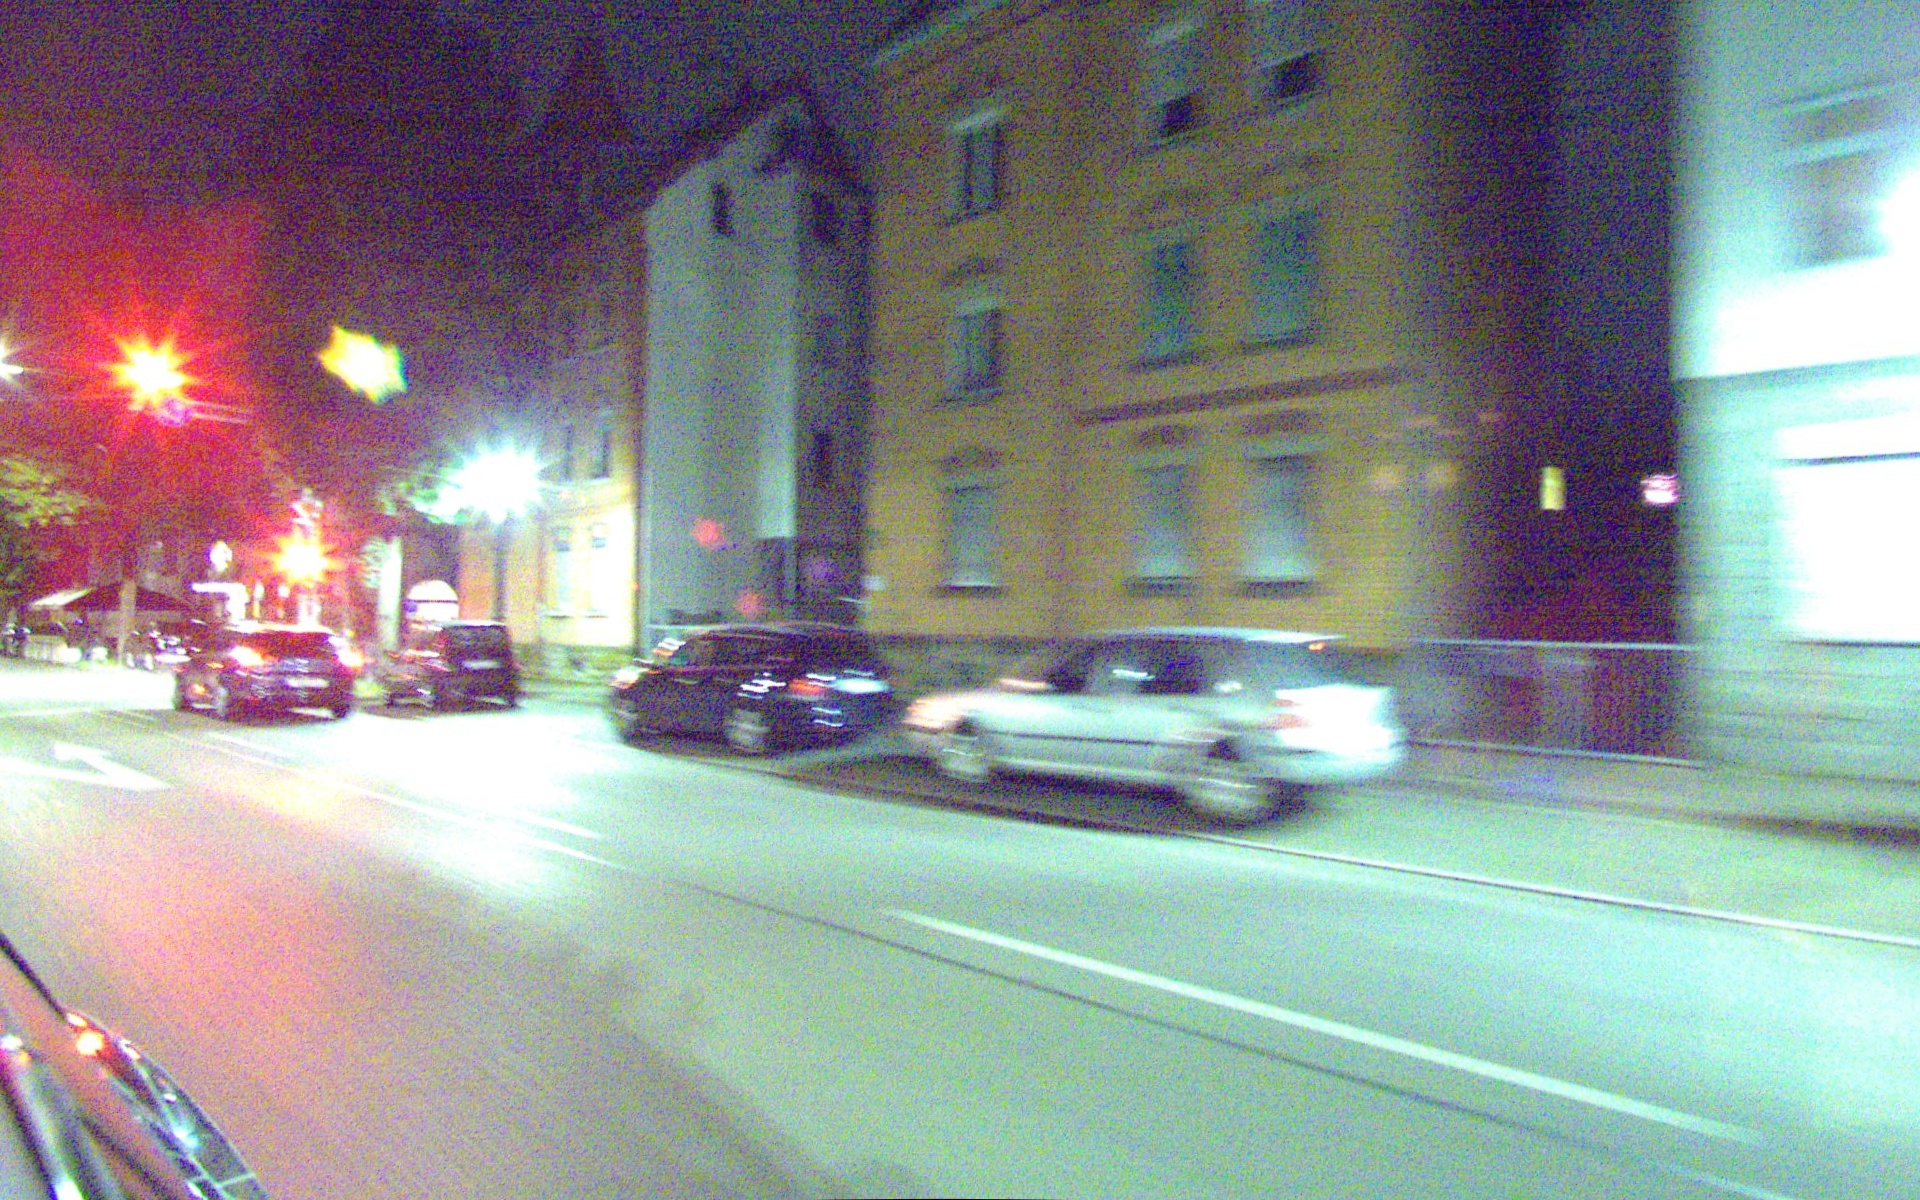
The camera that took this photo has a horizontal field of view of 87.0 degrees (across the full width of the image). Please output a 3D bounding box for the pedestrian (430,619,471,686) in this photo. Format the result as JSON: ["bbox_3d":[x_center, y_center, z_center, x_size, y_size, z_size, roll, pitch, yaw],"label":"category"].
[{"bbox_3d":[-13.290,1.353,26.392,0.700,1.703,0.999,3,-3,-39],"label":"pedestrian"}]

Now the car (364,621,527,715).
[{"bbox_3d":[-9.503,1.171,18.574,3.701,1.502,1.574,-2,0,45],"label":"car"}]

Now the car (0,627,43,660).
[{"bbox_3d":[-45.473,2.061,48.393,4.470,1.490,1.841,-1,-2,41],"label":"car"}]

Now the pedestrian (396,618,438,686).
[{"bbox_3d":[-13.909,1.320,25.897,0.700,1.703,1.126,3,-3,-39],"label":"pedestrian"}]

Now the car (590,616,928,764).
[{"bbox_3d":[-2.595,0.982,12.473,4.325,1.502,1.767,-2,-1,40],"label":"car"}]

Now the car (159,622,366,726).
[{"bbox_3d":[-11.113,1.121,16.023,3.998,1.440,1.697,-2,-4,41],"label":"car"}]

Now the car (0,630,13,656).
[{"bbox_3d":[-55.333,2.407,57.282,4.397,1.444,1.843,-1,-2,38],"label":"car"}]

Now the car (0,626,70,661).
[{"bbox_3d":[-41.499,1.917,45.317,4.440,1.444,1.842,-1,-1,41],"label":"car"}]

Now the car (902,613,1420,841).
[{"bbox_3d":[1.573,0.892,8.664,3.995,1.503,1.767,-2,-2,39],"label":"car"}]

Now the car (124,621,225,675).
[{"bbox_3d":[-25.153,1.486,32.360,4.023,1.608,1.866,-1,-1,42],"label":"car"}]
